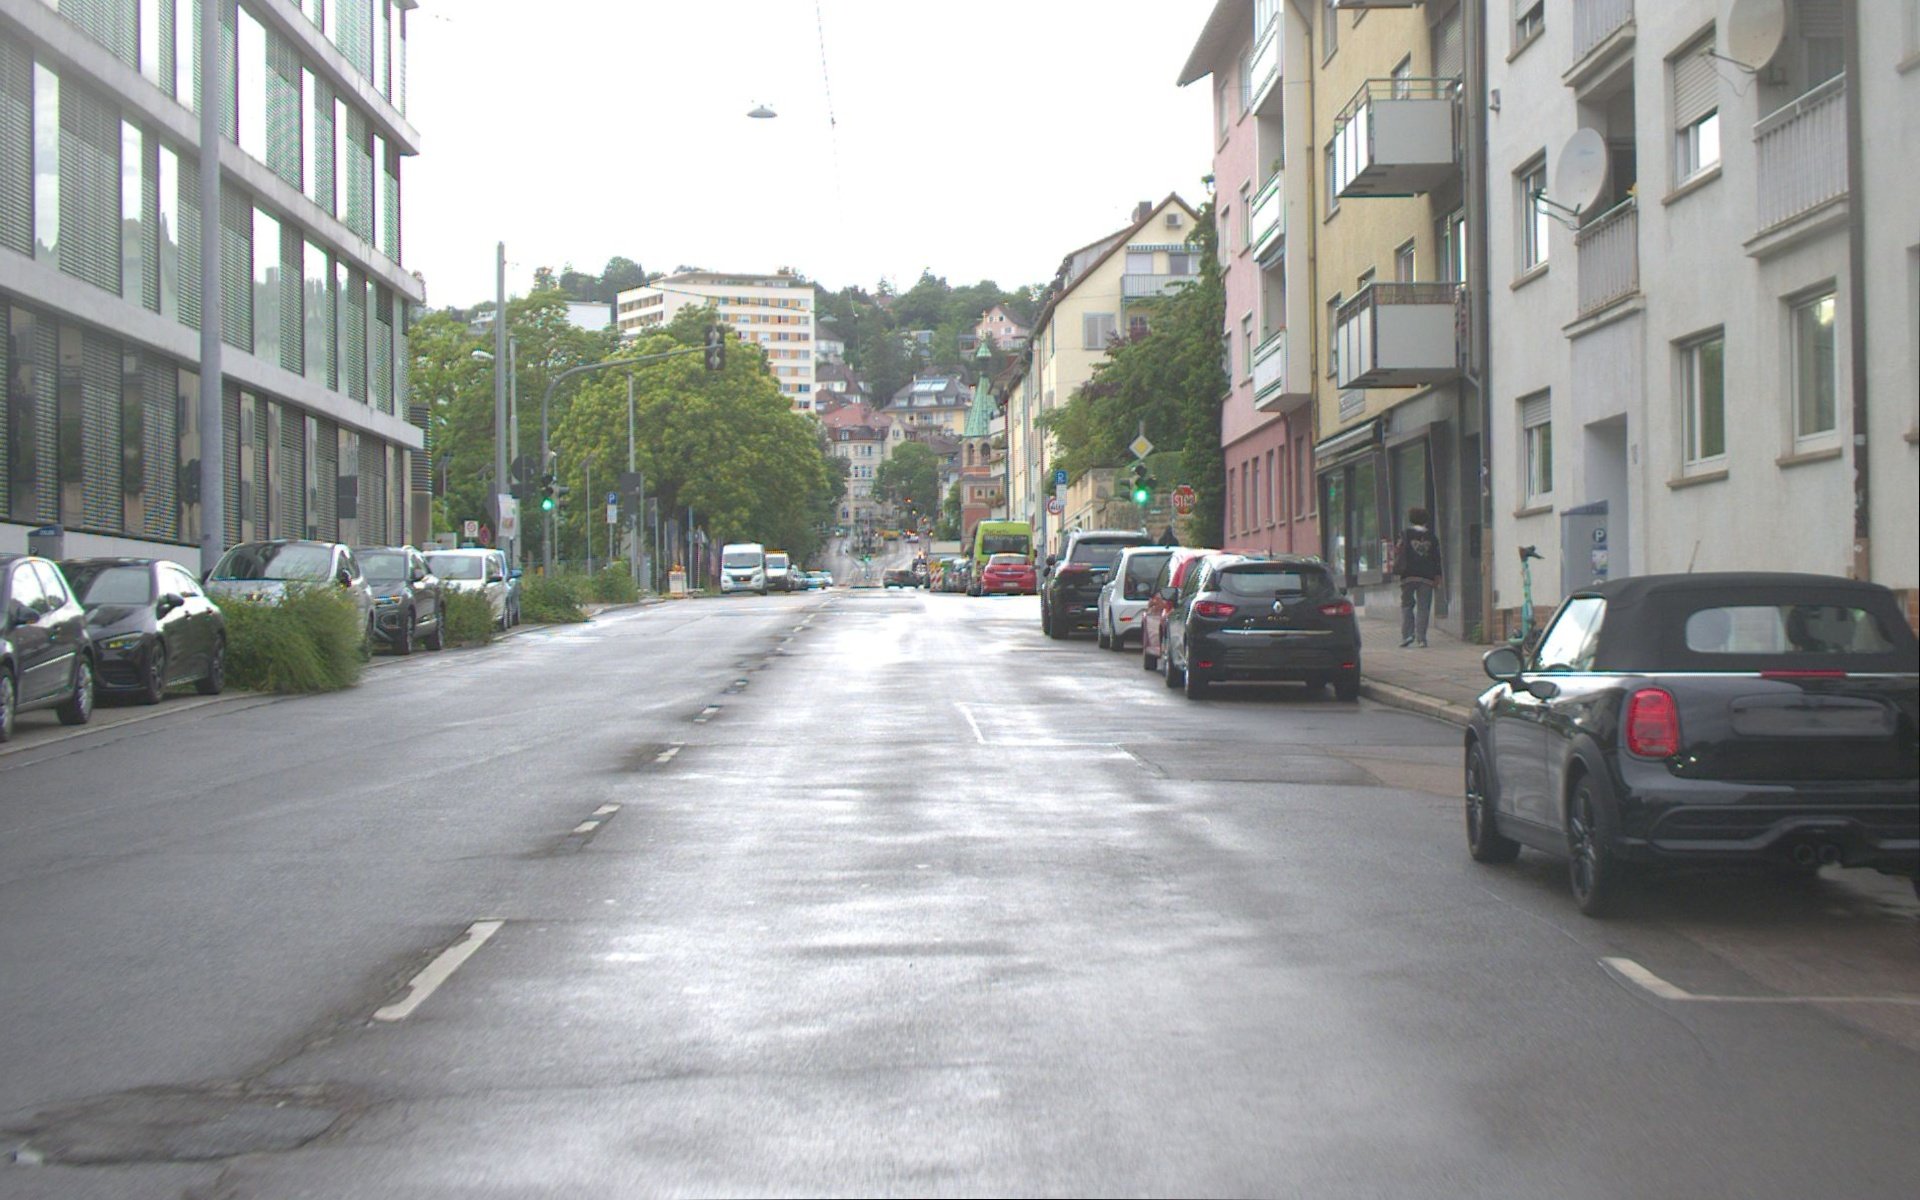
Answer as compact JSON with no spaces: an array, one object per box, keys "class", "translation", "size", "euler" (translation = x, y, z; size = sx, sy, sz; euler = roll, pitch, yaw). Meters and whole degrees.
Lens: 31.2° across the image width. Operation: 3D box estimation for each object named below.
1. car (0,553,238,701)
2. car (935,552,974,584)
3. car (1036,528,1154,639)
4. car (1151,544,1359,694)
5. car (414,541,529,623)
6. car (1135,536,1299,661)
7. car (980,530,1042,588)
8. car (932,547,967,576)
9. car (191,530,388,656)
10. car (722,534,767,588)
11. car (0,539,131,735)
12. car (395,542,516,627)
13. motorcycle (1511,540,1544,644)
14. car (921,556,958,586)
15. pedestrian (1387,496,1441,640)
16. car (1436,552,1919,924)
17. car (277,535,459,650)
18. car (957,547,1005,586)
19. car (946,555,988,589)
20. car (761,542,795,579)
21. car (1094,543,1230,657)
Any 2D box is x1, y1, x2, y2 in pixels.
[{"class":"car","translation":[-8.601,0.234,34.557],"size":[1.837,1.391,4.392],"euler":[0,0,-1]},{"class":"car","translation":[-0.266,-1.636,177.596],"size":[1.867,1.598,4.189],"euler":[0,0,2]},{"class":"car","translation":[2.167,-0.307,56.051],"size":[1.654,1.732,4.180],"euler":[0,1,-1]},{"class":"car","translation":[2.975,0.169,35.371],"size":[1.706,1.449,3.985],"euler":[0,0,-1]},{"class":"car","translation":[-9.413,-0.377,66.476],"size":[1.866,1.520,4.197],"euler":[0,1,-3]},{"class":"car","translation":[3.000,-0.029,40.744],"size":[1.582,1.409,3.654],"euler":[0,0,-1]},{"class":"car","translation":[1.629,-1.258,107.551],"size":[1.867,1.764,4.189],"euler":[0,0,2]},{"class":"car","translation":[-0.591,-2.211,196.617],"size":[1.867,1.598,4.189],"euler":[0,0,2]},{"class":"car","translation":[-8.550,-0.124,44.159],"size":[1.771,1.529,4.316],"euler":[0,1,-1]},{"class":"car","translation":[-10.216,-1.826,163.037],"size":[2.105,2.538,4.751],"euler":[0,0,-3]},{"class":"car","translation":[-8.230,0.256,28.216],"size":[1.863,1.484,4.347],"euler":[0,0,-1]},{"class":"car","translation":[-8.942,-0.302,61.158],"size":[1.595,1.454,3.719],"euler":[0,1,0]},{"class":"motorcycle","translation":[6.398,-0.093,38.787],"size":[0.252,1.161,0.781],"euler":[0,0,2]},{"class":"car","translation":[-1.096,-1.542,185.758],"size":[1.867,1.598,4.189],"euler":[0,0,2]},{"class":"pedestrian","translation":[5.921,-0.422,44.868],"size":[0.639,1.864,0.538],"euler":[0,0,1]},{"class":"car","translation":[3.333,0.532,15.782],"size":[1.673,1.454,3.765],"euler":[0,1,-2]},{"class":"car","translation":[-8.598,-0.109,50.244],"size":[1.801,1.598,4.234],"euler":[0,0,2]},{"class":"car","translation":[0.879,-1.384,142.885],"size":[1.867,1.598,4.189],"euler":[0,0,2]},{"class":"car","translation":[0.361,-1.320,162.242],"size":[1.867,1.598,4.189],"euler":[0,0,2]},{"class":"car","translation":[-10.677,-2.328,201.899],"size":[1.866,2.134,4.359],"euler":[0,0,-5]},{"class":"car","translation":[2.860,-0.020,49.280],"size":[1.635,1.566,3.711],"euler":[0,0,-1]}]
